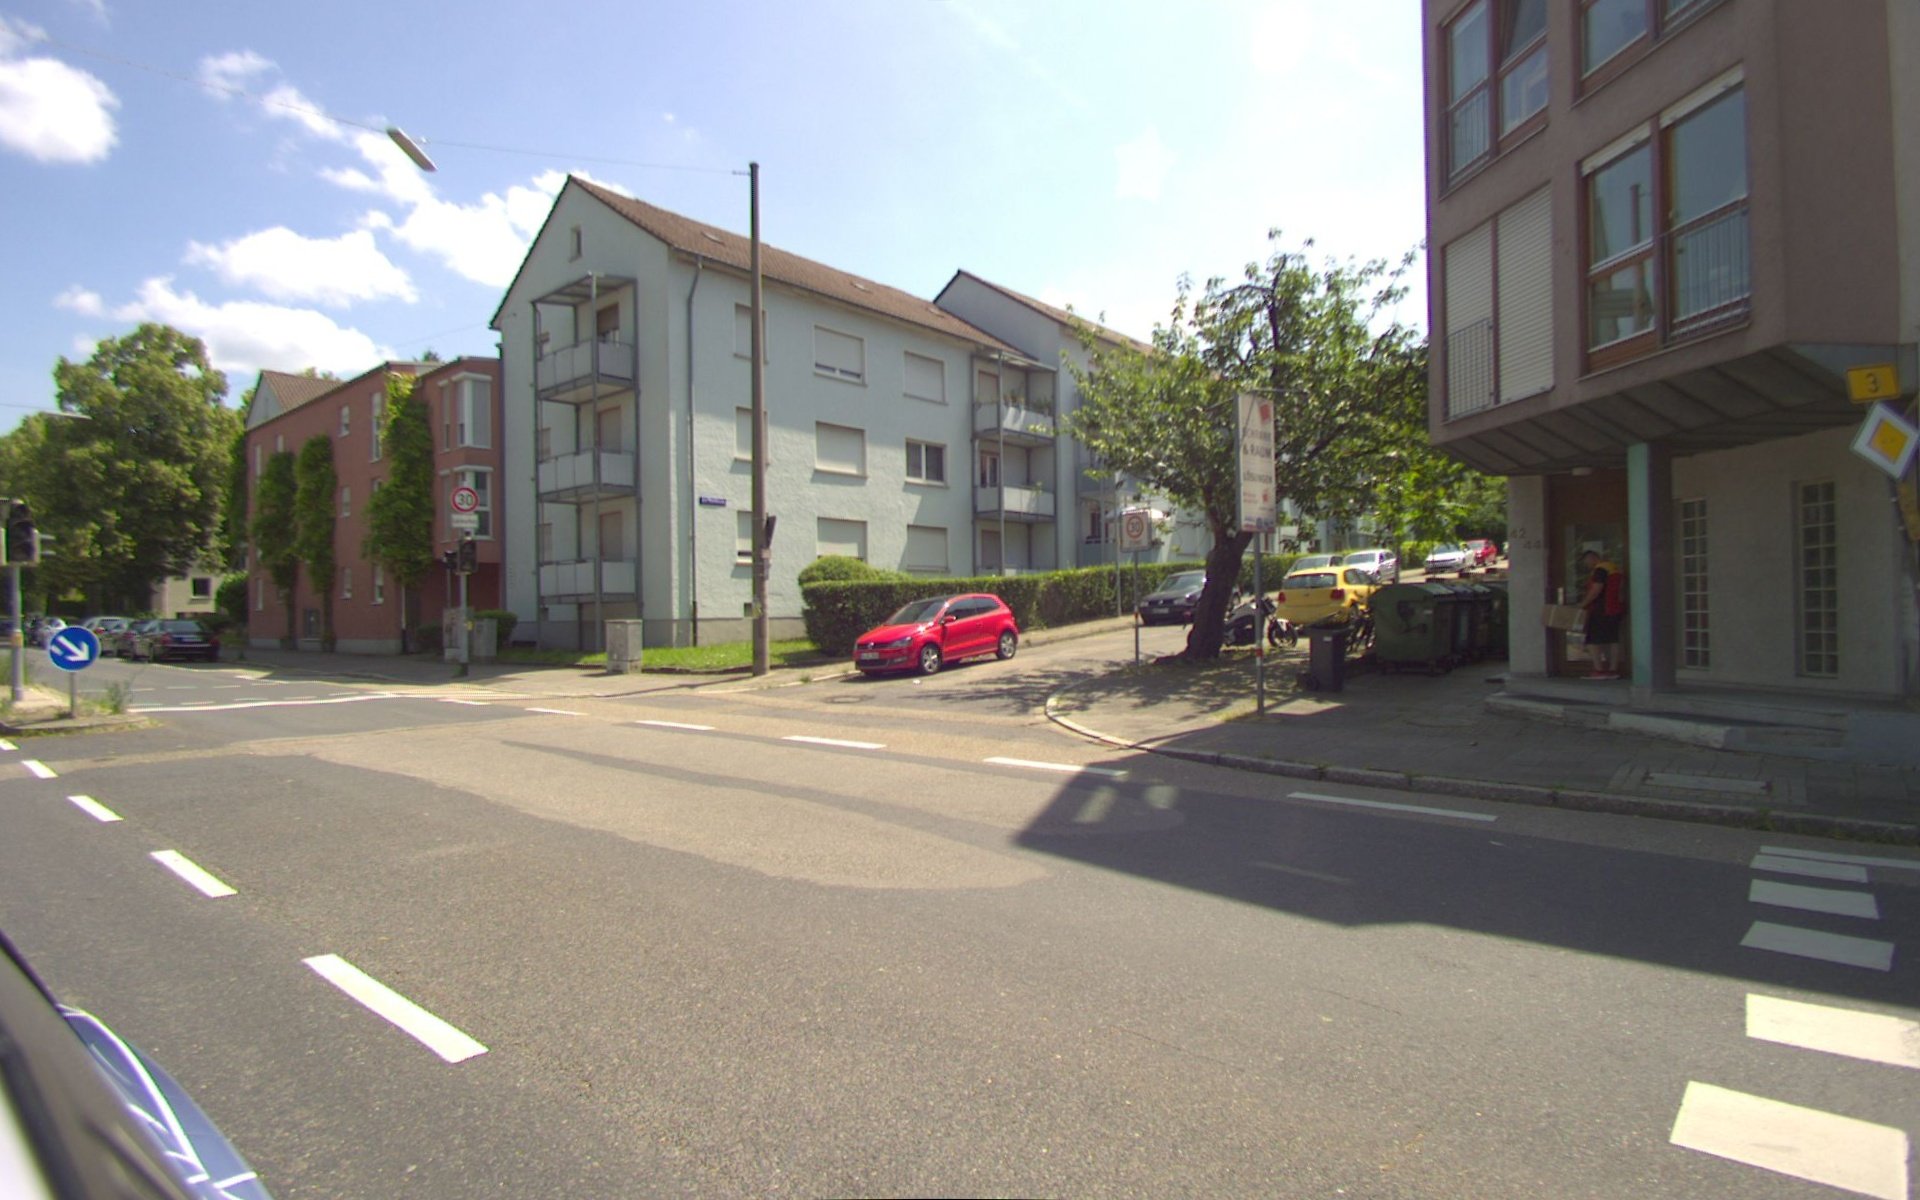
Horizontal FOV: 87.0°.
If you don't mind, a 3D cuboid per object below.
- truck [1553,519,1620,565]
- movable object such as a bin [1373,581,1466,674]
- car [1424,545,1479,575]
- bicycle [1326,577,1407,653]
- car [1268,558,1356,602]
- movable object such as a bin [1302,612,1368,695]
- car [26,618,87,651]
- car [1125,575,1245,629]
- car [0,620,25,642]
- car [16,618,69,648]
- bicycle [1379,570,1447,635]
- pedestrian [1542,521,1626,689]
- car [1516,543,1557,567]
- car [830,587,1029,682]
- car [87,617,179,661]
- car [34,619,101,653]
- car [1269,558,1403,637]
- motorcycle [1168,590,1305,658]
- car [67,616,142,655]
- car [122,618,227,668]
[{"bbox_3d":[31.727,-2.966,51.187,2.104,2.050,5.372,-1,3,40],"label":"truck"},{"bbox_3d":[7.216,0.412,15.872,1.084,1.377,1.262,-1,0,36],"label":"movable object such as a bin"},{"bbox_3d":[24.404,-2.003,50.209,1.558,1.239,3.742,-5,0,39],"label":"car"},{"bbox_3d":[7.111,0.256,17.647,0.756,1.244,2.236,-1,-1,37],"label":"bicycle"},{"bbox_3d":[12.713,-0.742,36.402,1.731,1.239,3.742,-5,0,39],"label":"car"},{"bbox_3d":[5.127,0.719,13.865,0.624,1.105,0.673,-1,-1,1],"label":"movable object such as a bin"},{"bbox_3d":[-45.893,1.720,51.374,3.997,1.519,1.730,-1,0,40],"label":"car"},{"bbox_3d":[6.410,0.033,28.535,1.731,1.160,3.742,-5,0,39],"label":"car"},{"bbox_3d":[-63.033,2.034,66.606,3.605,1.343,1.735,-1,0,40],"label":"car"},{"bbox_3d":[-49.735,1.770,54.827,3.997,1.519,1.552,-1,0,40],"label":"car"},{"bbox_3d":[9.203,0.051,20.510,0.756,1.244,2.235,-1,-1,37],"label":"bicycle"},{"bbox_3d":[7.811,0.060,12.670,0.836,2.029,0.593,-1,0,34],"label":"pedestrian"},{"bbox_3d":[36.434,-2.881,63.922,1.558,1.239,3.742,-5,0,39],"label":"car"},{"bbox_3d":[-0.514,0.632,20.234,1.731,1.462,3.949,-3,2,39],"label":"car"},{"bbox_3d":[-31.328,1.437,38.311,4.564,1.551,1.867,-1,-1,40],"label":"car"},{"bbox_3d":[-41.261,1.633,46.767,3.997,1.453,1.730,-1,0,40],"label":"car"},{"bbox_3d":[8.789,-0.094,23.504,1.654,1.424,3.742,-5,2,40],"label":"car"},{"bbox_3d":[5.322,0.466,19.474,2.372,1.042,0.923,-6,1,22],"label":"motorcycle"},{"bbox_3d":[-35.878,1.465,42.408,3.997,1.519,1.730,-1,0,40],"label":"car"},{"bbox_3d":[-26.532,1.406,34.139,4.564,1.551,1.867,-1,-1,40],"label":"car"}]
